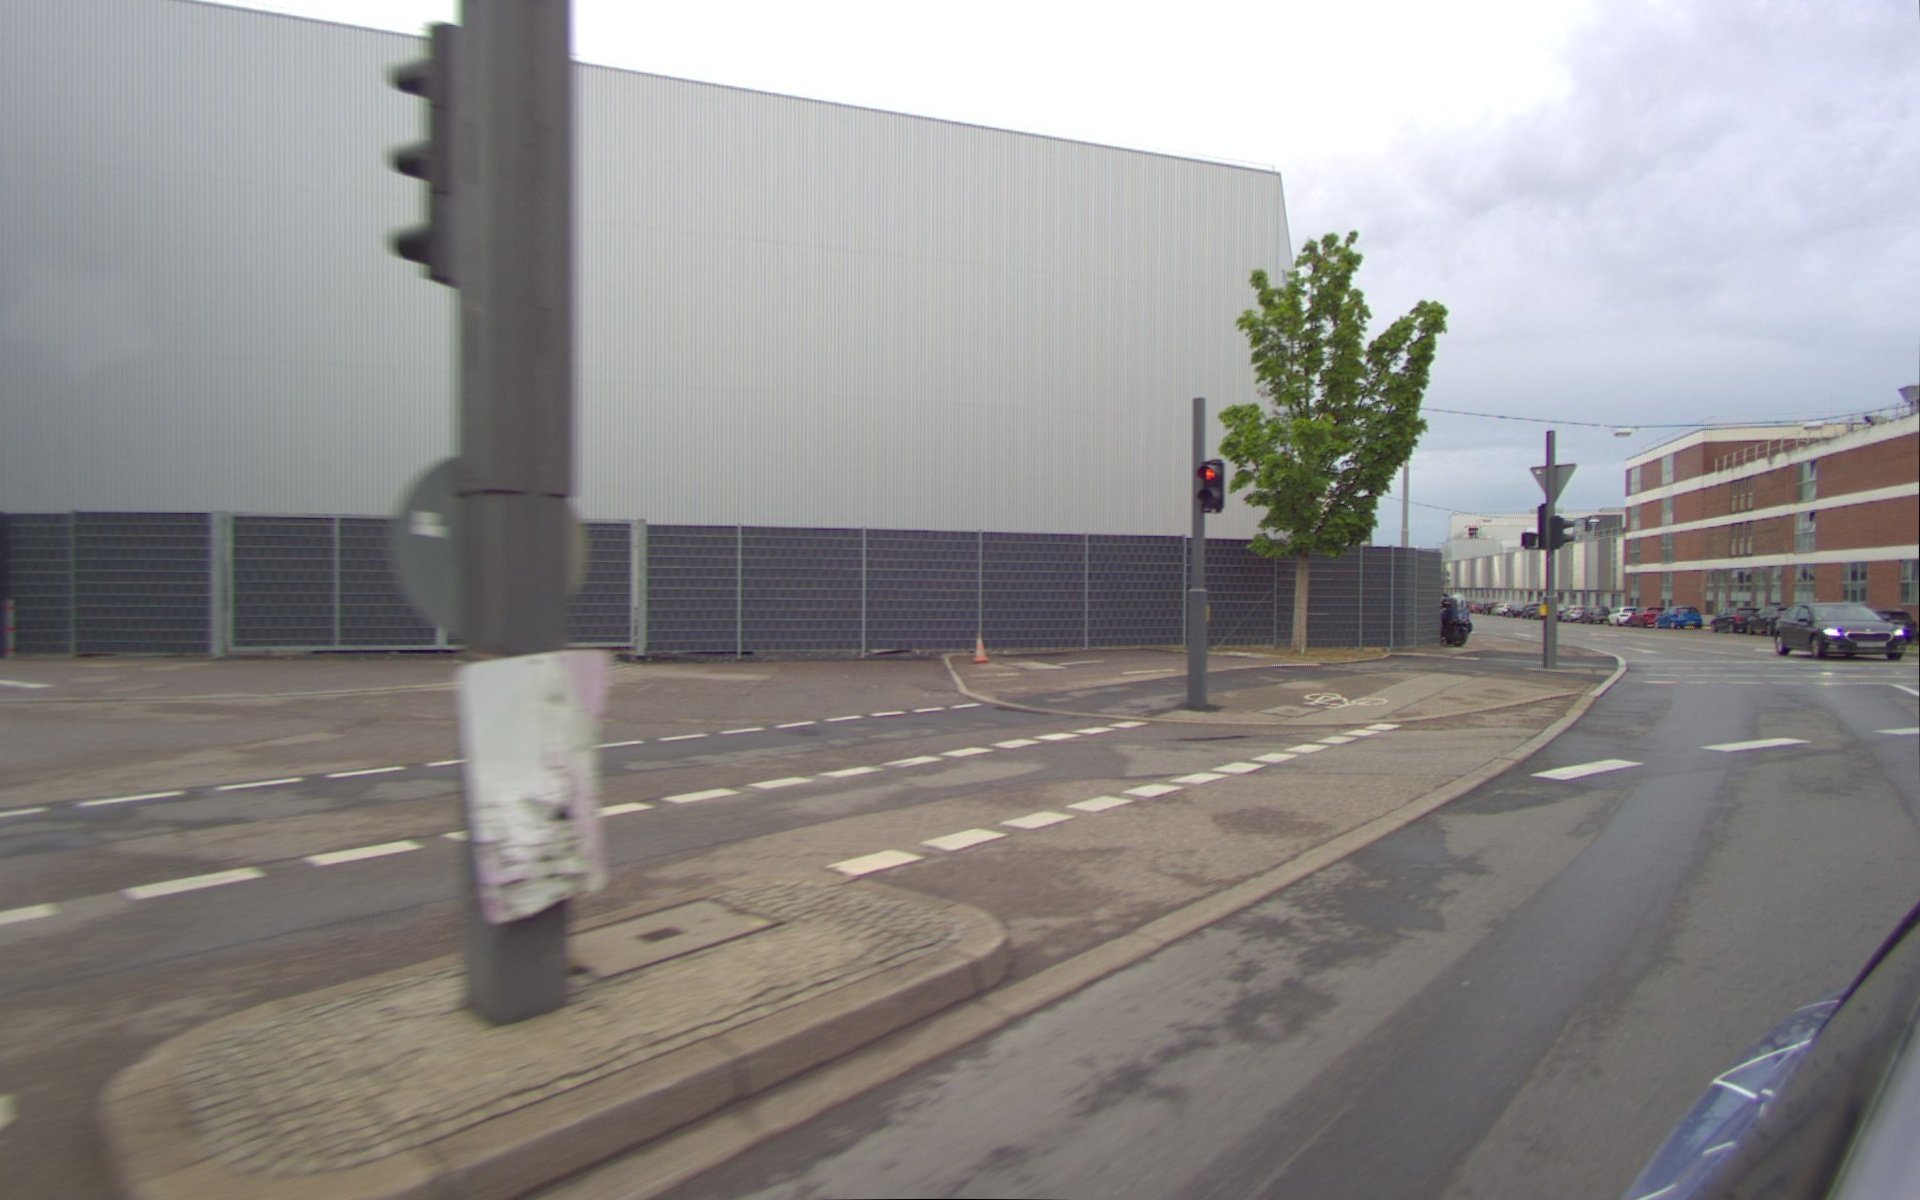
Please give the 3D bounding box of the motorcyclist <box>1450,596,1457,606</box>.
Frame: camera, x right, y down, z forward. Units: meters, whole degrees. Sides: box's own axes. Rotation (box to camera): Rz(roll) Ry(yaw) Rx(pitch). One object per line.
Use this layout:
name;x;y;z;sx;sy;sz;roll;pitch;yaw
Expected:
motorcyclist;73.795;0.169;151.342;0.726;1.391;1.011;-3;-1;23

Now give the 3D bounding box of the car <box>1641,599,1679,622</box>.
car;48.682;0.709;70.438;1.442;1.462;3.363;-3;0;23

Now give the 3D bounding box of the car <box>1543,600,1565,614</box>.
car;59.344;0.668;101.152;1.442;1.257;3.346;-3;0;23

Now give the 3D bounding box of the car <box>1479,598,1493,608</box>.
car;75.134;0.446;144.571;1.442;1.257;3.346;-3;0;23

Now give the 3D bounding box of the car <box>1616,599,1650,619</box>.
car;50.499;0.676;75.983;1.442;1.393;3.363;-3;0;23

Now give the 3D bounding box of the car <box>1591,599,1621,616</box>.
car;53.867;0.615;84.423;1.442;1.257;3.346;-3;0;23

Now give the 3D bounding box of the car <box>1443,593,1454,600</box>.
car;83.828;-0.607;173.697;1.442;1.257;3.346;-3;0;23

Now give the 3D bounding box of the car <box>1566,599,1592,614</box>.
car;55.562;0.553;90.846;1.442;1.257;3.346;-3;0;23

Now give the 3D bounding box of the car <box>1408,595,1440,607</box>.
car;66.947;0.136;146.163;3.945;1.579;1.606;-1;0;17

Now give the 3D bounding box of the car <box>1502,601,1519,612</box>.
car;66.101;0.774;121.507;1.442;1.257;3.346;-3;0;23

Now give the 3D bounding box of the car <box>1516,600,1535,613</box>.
car;64.501;0.729;115.374;1.442;1.257;3.346;-3;0;23

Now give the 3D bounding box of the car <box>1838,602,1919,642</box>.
car;38.740;0.885;42.312;1.547;1.462;4.082;-3;0;18

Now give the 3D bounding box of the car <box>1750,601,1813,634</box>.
car;41.248;0.865;50.869;1.442;1.462;3.439;-3;0;23

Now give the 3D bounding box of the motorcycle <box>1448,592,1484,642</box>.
motorcycle;13.948;0.462;27.920;0.647;1.327;2.087;0;-1;20

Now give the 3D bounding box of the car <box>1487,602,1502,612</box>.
car;69.364;0.913;131.346;1.442;1.257;3.346;-3;0;23

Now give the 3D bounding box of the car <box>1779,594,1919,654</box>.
car;23.135;0.582;26.388;1.701;1.444;3.968;-1;0;23

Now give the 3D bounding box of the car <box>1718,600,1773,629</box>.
car;43.184;0.783;55.699;1.442;1.462;3.363;-3;0;23

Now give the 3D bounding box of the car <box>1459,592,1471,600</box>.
car;80.807;-0.618;162.056;1.442;1.257;3.346;-3;0;23

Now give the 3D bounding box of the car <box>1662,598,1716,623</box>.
car;47.009;0.668;65.290;1.673;1.462;3.373;-3;0;15

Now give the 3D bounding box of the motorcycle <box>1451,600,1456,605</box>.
motorcycle;73.775;0.301;151.275;0.559;0.678;2.210;-3;0;22
